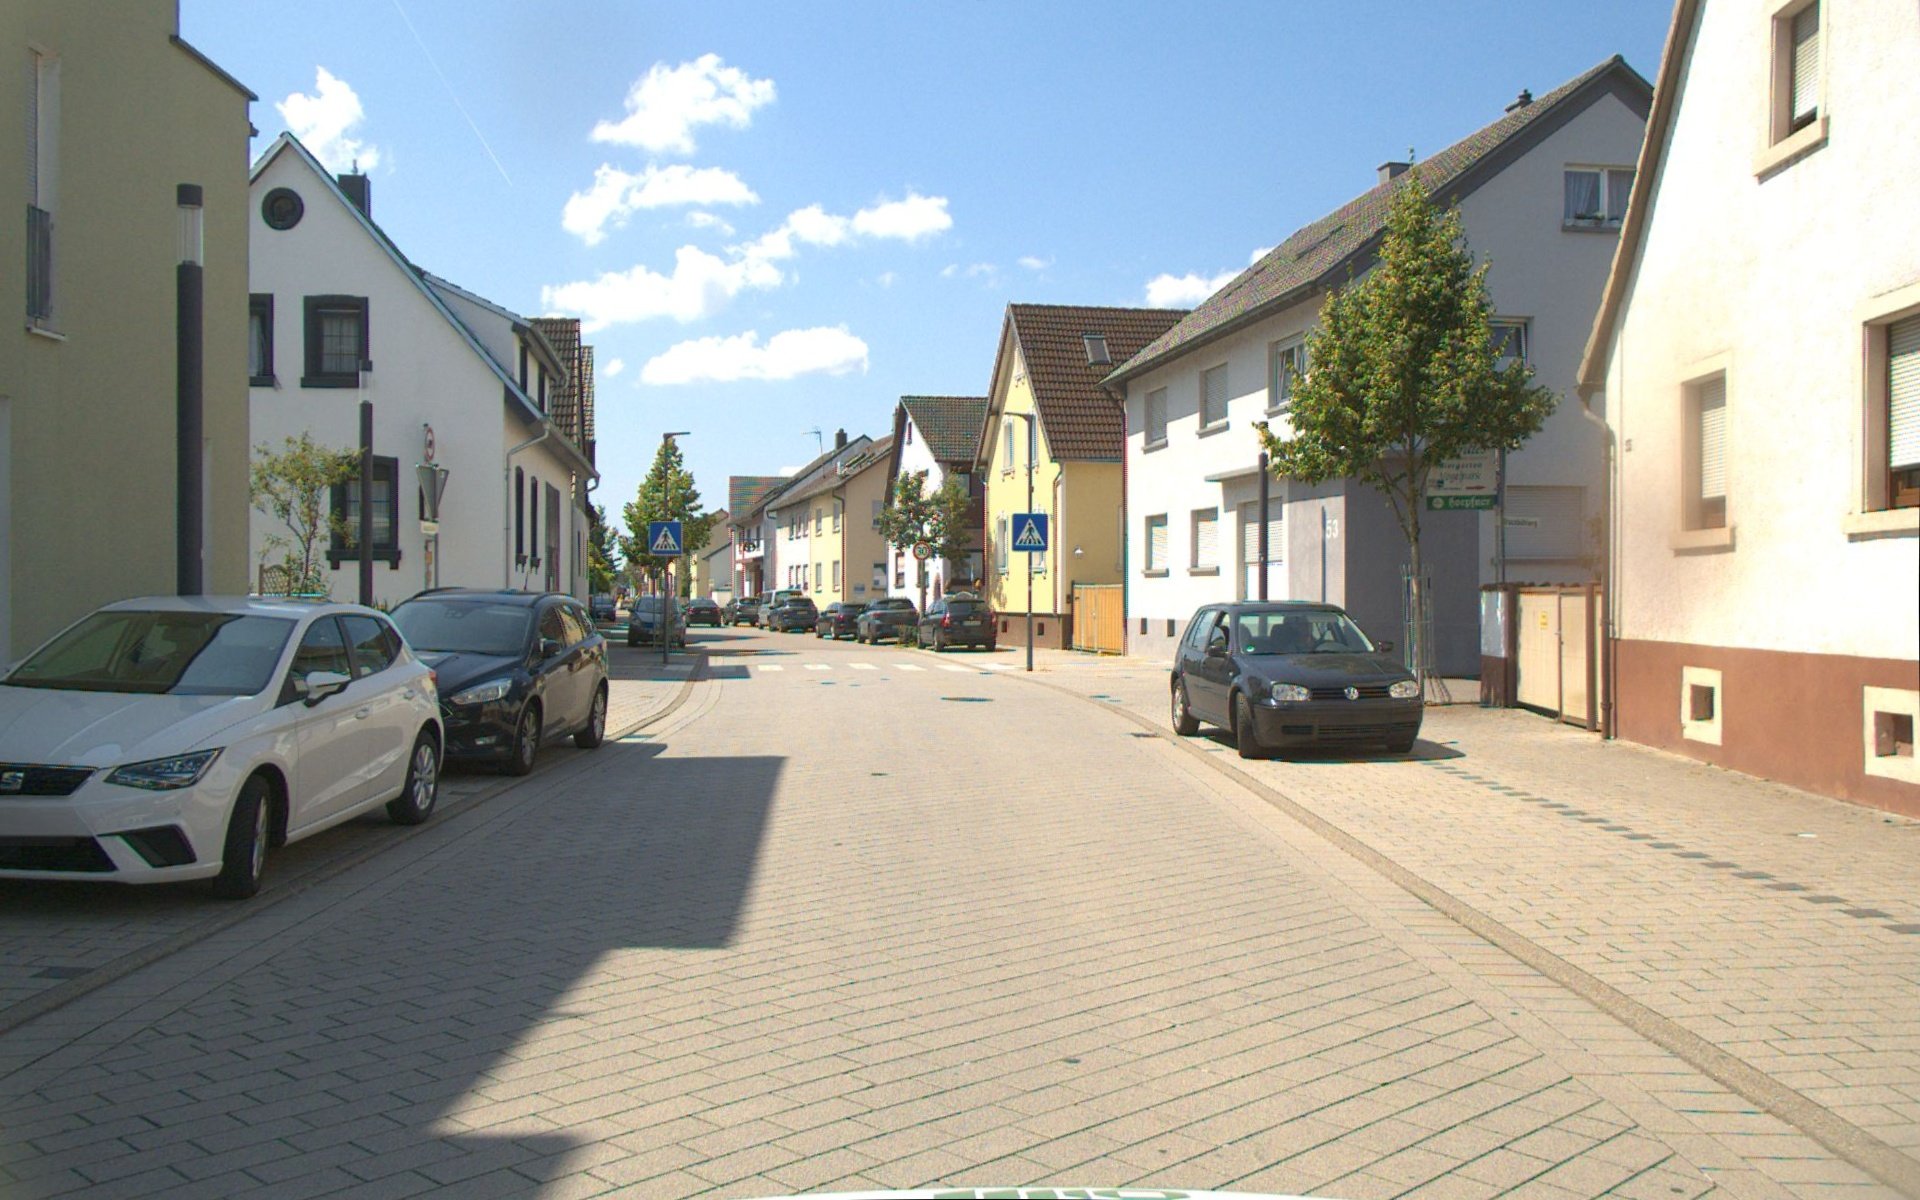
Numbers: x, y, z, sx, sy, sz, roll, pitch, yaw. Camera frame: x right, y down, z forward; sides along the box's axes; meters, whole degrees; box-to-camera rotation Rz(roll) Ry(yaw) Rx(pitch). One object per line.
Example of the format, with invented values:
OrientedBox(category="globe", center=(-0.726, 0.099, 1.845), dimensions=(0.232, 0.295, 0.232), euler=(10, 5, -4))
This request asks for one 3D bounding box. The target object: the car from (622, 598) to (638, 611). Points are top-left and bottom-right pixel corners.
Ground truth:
OrientedBox(category="car", center=(-40.166, 0.549, 201.467), dimensions=(1.660, 1.478, 3.778), euler=(-1, 0, -15))

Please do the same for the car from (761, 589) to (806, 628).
OrientedBox(category="car", center=(-8.896, 0.420, 83.135), dimensions=(1.873, 1.904, 3.988), euler=(-1, 0, -12))

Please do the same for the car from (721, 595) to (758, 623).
OrientedBox(category="car", center=(-12.230, 0.488, 91.673), dimensions=(1.723, 1.519, 3.988), euler=(-1, 0, -12))

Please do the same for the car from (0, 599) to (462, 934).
OrientedBox(category="car", center=(-4.278, 0.749, 9.377), dimensions=(1.722, 1.435, 3.877), euler=(2, 0, 0))

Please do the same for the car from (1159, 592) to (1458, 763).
OrientedBox(category="car", center=(3.358, 0.681, 16.763), dimensions=(1.726, 1.463, 4.113), euler=(-1, 0, -7))

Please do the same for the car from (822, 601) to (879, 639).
OrientedBox(category="car", center=(-4.290, 0.756, 64.320), dimensions=(1.681, 1.411, 3.694), euler=(-1, 0, -12))

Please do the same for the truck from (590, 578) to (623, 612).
OrientedBox(category="truck", center=(-42.941, -0.570, 200.665), dimensions=(3.506, 4.023, 8.546), euler=(-1, 0, -15))

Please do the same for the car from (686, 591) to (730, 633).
OrientedBox(category="car", center=(-13.208, 0.598, 86.384), dimensions=(1.959, 2.094, 4.359), euler=(-1, 0, -13))

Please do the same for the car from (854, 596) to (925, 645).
OrientedBox(category="car", center=(-2.455, 0.678, 56.916), dimensions=(1.814, 1.590, 3.682), euler=(-1, 0, -12))

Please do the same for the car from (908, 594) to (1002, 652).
OrientedBox(category="car", center=(-0.204, 0.648, 47.478), dimensions=(1.797, 1.497, 4.263), euler=(-3, 0, -12))

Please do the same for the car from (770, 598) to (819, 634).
OrientedBox(category="car", center=(-7.790, 0.724, 77.552), dimensions=(1.845, 1.619, 3.988), euler=(-1, 0, -12))

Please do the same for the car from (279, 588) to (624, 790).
OrientedBox(category="car", center=(-4.352, 0.672, 14.891), dimensions=(1.776, 1.516, 4.277), euler=(1, 0, 0))

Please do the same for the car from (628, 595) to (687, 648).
OrientedBox(category="car", center=(-9.357, 0.650, 51.409), dimensions=(1.715, 1.557, 3.991), euler=(1, 0, -9))
